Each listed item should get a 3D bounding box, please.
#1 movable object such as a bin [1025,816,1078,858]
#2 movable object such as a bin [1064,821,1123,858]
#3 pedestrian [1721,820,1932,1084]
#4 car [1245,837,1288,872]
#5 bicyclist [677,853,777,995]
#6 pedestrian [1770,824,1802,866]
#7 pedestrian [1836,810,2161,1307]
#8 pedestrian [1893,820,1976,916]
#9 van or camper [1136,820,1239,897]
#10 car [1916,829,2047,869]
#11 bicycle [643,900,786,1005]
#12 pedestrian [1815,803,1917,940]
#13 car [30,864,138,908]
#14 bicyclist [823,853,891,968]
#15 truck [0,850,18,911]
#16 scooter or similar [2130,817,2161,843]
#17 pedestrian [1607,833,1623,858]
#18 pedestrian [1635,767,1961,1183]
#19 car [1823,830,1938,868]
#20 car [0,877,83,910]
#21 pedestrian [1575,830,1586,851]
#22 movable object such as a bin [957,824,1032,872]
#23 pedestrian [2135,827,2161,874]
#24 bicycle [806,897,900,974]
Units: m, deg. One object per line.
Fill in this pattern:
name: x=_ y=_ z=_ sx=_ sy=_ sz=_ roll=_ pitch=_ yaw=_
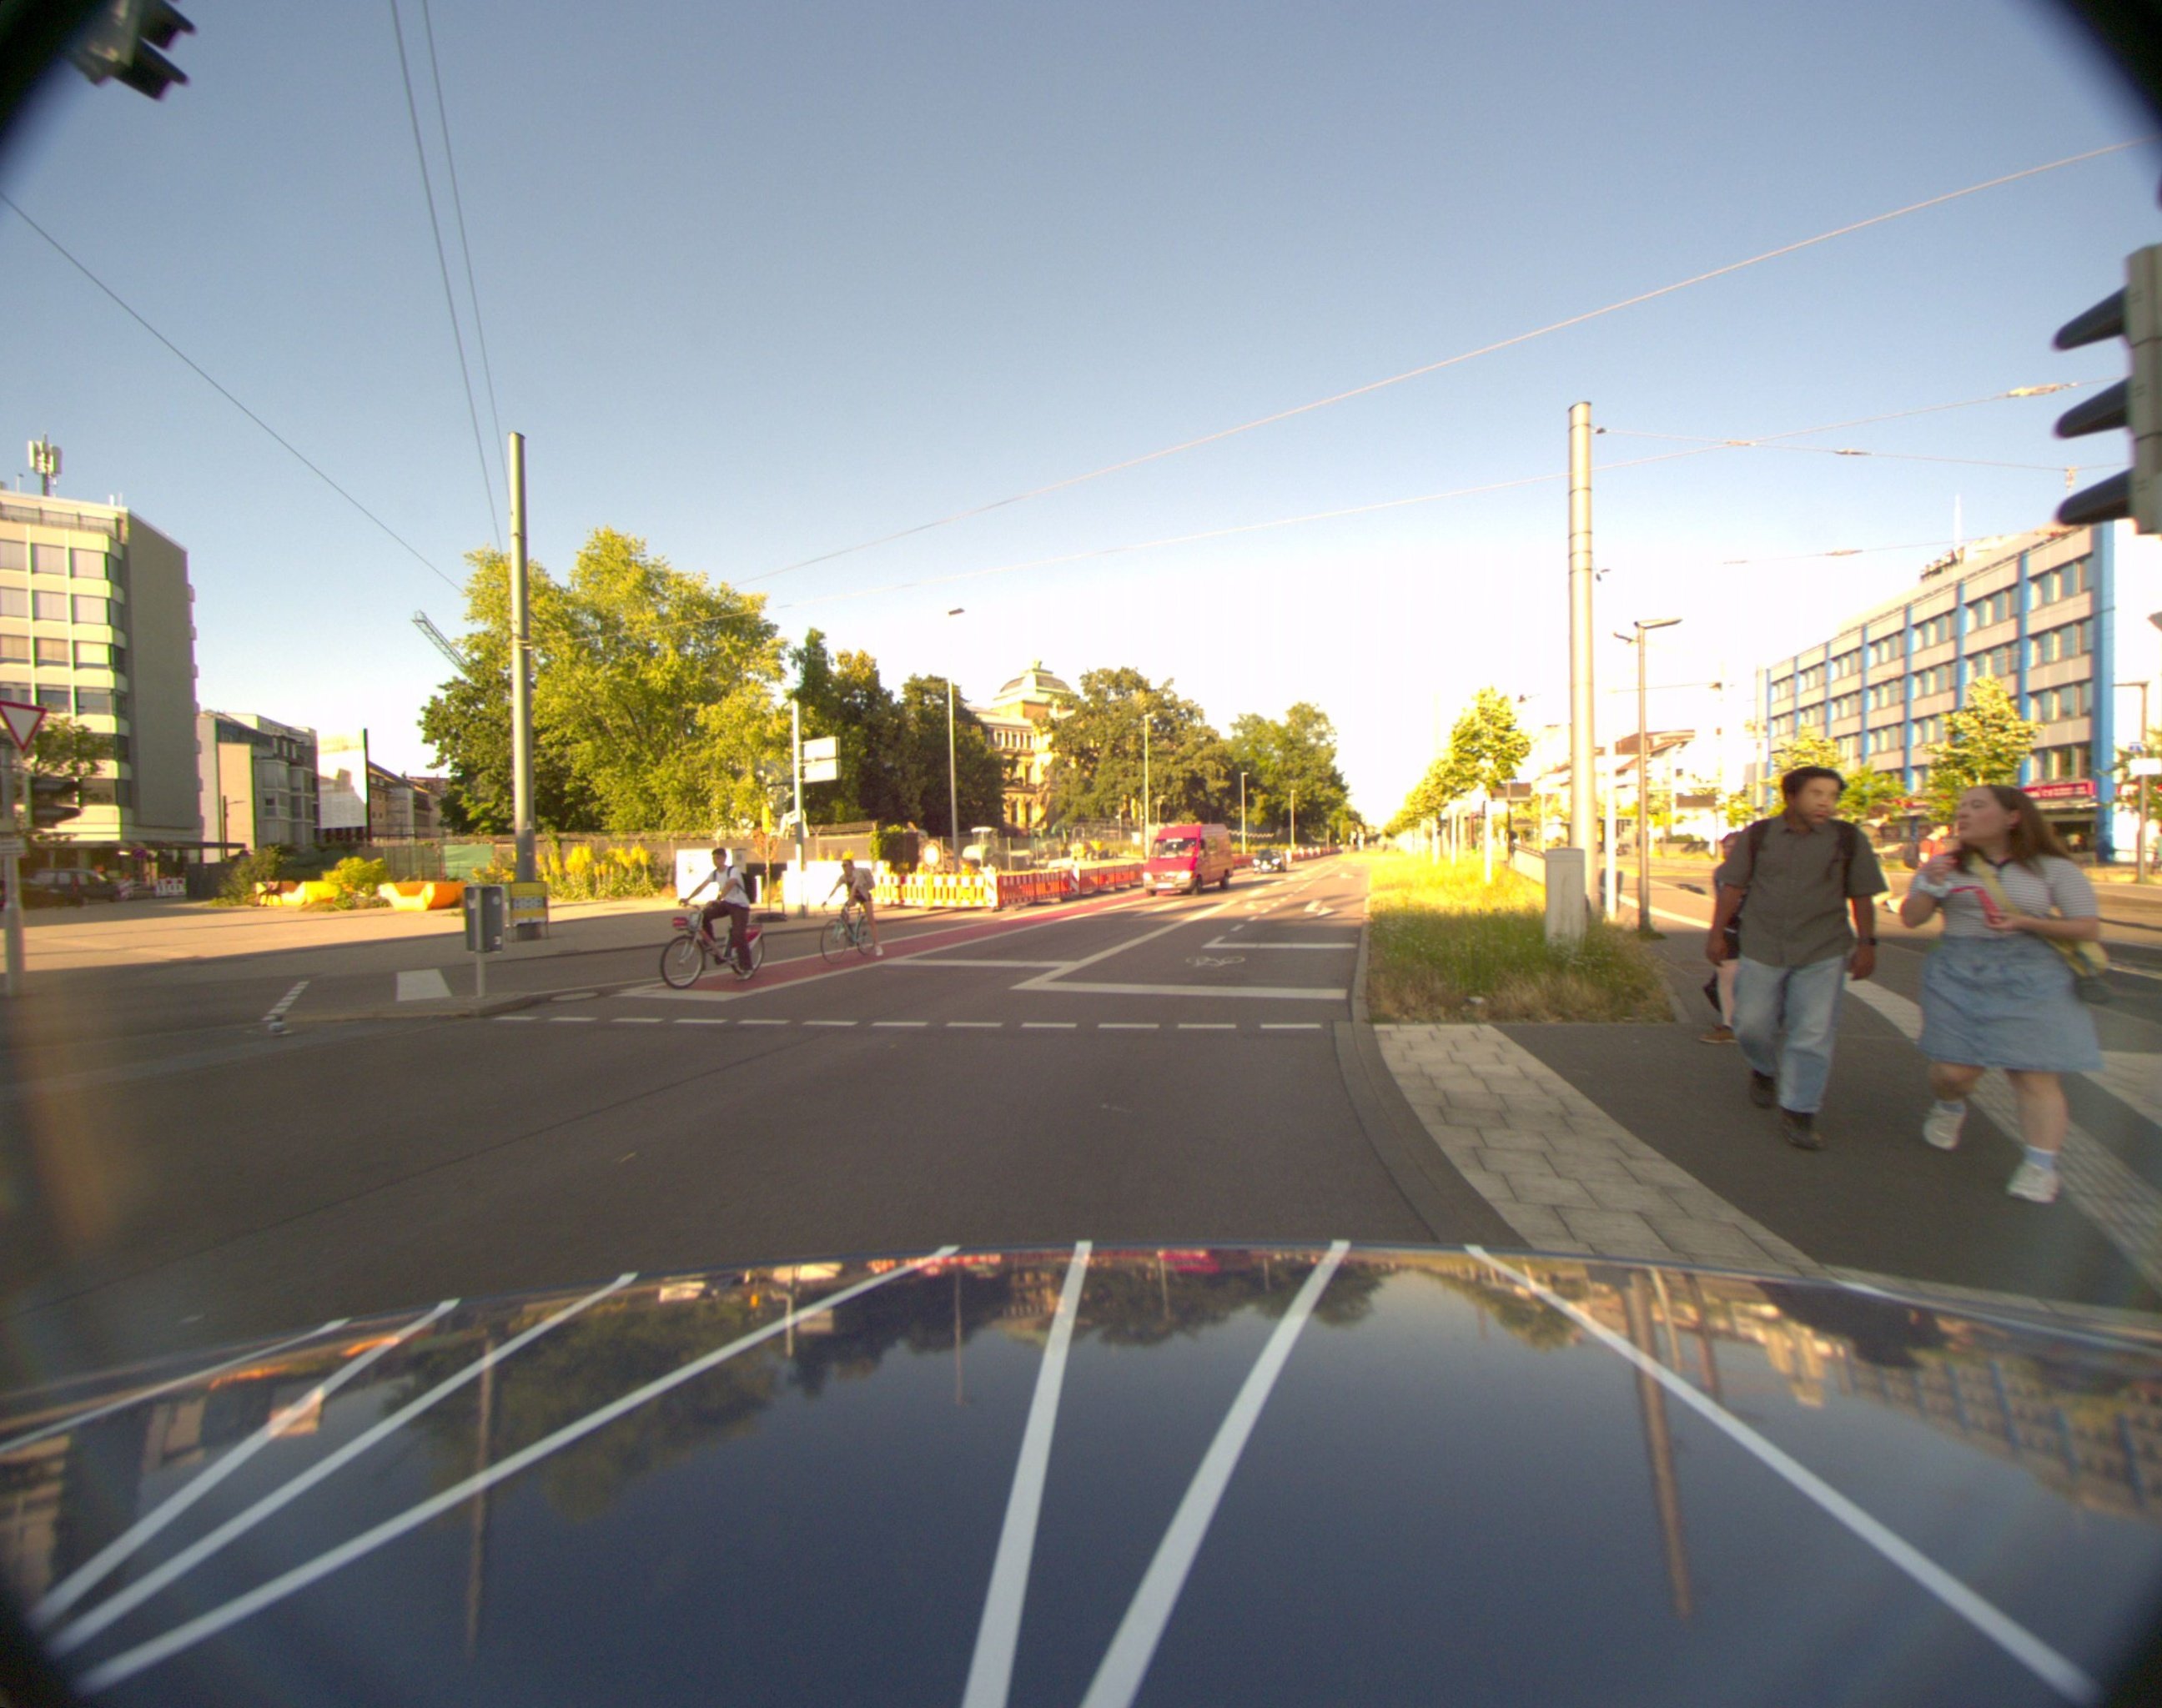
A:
movable object such as a bin: x=-2.354 y=-1.433 z=63.402 sx=1.995 sy=3.310 sz=5.383 roll=-2 pitch=1 yaw=25
movable object such as a bin: x=1.113 y=-1.208 z=61.900 sx=1.995 sy=2.800 sz=5.877 roll=-2 pitch=1 yaw=31
pedestrian: x=4.940 y=0.616 z=5.091 sx=0.786 sy=1.631 sz=0.620 roll=-3 pitch=1 yaw=19
car: x=11.493 y=-0.017 z=46.837 sx=1.996 sy=2.002 sz=4.005 roll=-2 pitch=1 yaw=21
bicyclist: x=-4.662 y=0.887 z=10.067 sx=0.542 sy=1.758 sz=1.061 roll=-2 pitch=1 yaw=16
pedestrian: x=28.914 y=-0.367 z=31.178 sx=0.786 sy=1.663 sz=0.620 roll=-2 pitch=1 yaw=24
pedestrian: x=3.792 y=0.663 z=3.018 sx=0.901 sy=1.631 sz=0.786 roll=-3 pitch=1 yaw=-20
pedestrian: x=15.518 y=0.251 z=13.830 sx=0.786 sy=1.689 sz=0.620 roll=-2 pitch=1 yaw=24
van or camper: x=4.114 y=0.096 z=28.226 sx=1.995 sy=2.514 sz=5.923 roll=-2 pitch=1 yaw=25
car: x=37.995 y=-0.239 z=32.222 sx=1.883 sy=1.499 sz=3.948 roll=-2 pitch=1 yaw=21
bicycle: x=-4.689 y=1.223 z=9.876 sx=0.542 sy=1.094 sz=1.810 roll=-2 pitch=1 yaw=16
pedestrian: x=10.955 y=0.244 z=10.631 sx=0.786 sy=1.853 sz=0.620 roll=-2 pitch=1 yaw=24
car: x=-49.366 y=1.525 z=37.735 sx=1.716 sy=1.969 sz=3.754 roll=-3 pitch=1 yaw=-27
bicyclist: x=-3.531 y=0.876 z=12.013 sx=0.614 sy=1.736 sz=0.793 roll=-2 pitch=1 yaw=16
truck: x=-44.489 y=1.117 z=28.903 sx=2.304 sy=2.534 sz=5.627 roll=-3 pitch=1 yaw=-28
scooter or similar: x=43.155 y=-0.982 z=30.609 sx=0.486 sy=1.000 sz=1.332 roll=-2 pitch=1 yaw=27
pedestrian: x=36.995 y=-0.578 z=52.647 sx=0.659 sy=1.682 sz=0.773 roll=-2 pitch=1 yaw=19
pedestrian: x=3.484 y=0.491 z=3.756 sx=0.901 sy=1.792 sz=0.786 roll=-3 pitch=5 yaw=-21
car: x=34.799 y=-0.263 z=33.218 sx=1.883 sy=1.499 sz=3.948 roll=-2 pitch=1 yaw=21
car: x=-47.230 y=1.766 z=33.951 sx=1.716 sy=1.357 sz=3.754 roll=-3 pitch=1 yaw=-27
pedestrian: x=40.701 y=-1.127 z=61.937 sx=0.658 sy=1.682 sz=0.773 roll=-2 pitch=1 yaw=27
movable object such as a bin: x=-5.136 y=-0.425 z=45.691 sx=1.995 sy=2.668 sz=5.021 roll=-2 pitch=1 yaw=25
pedestrian: x=42.936 y=-0.157 z=30.437 sx=0.561 sy=1.837 sz=0.724 roll=-2 pitch=1 yaw=27
bicycle: x=-3.555 y=1.248 z=11.996 sx=0.542 sy=0.995 sz=1.695 roll=-2 pitch=1 yaw=16
